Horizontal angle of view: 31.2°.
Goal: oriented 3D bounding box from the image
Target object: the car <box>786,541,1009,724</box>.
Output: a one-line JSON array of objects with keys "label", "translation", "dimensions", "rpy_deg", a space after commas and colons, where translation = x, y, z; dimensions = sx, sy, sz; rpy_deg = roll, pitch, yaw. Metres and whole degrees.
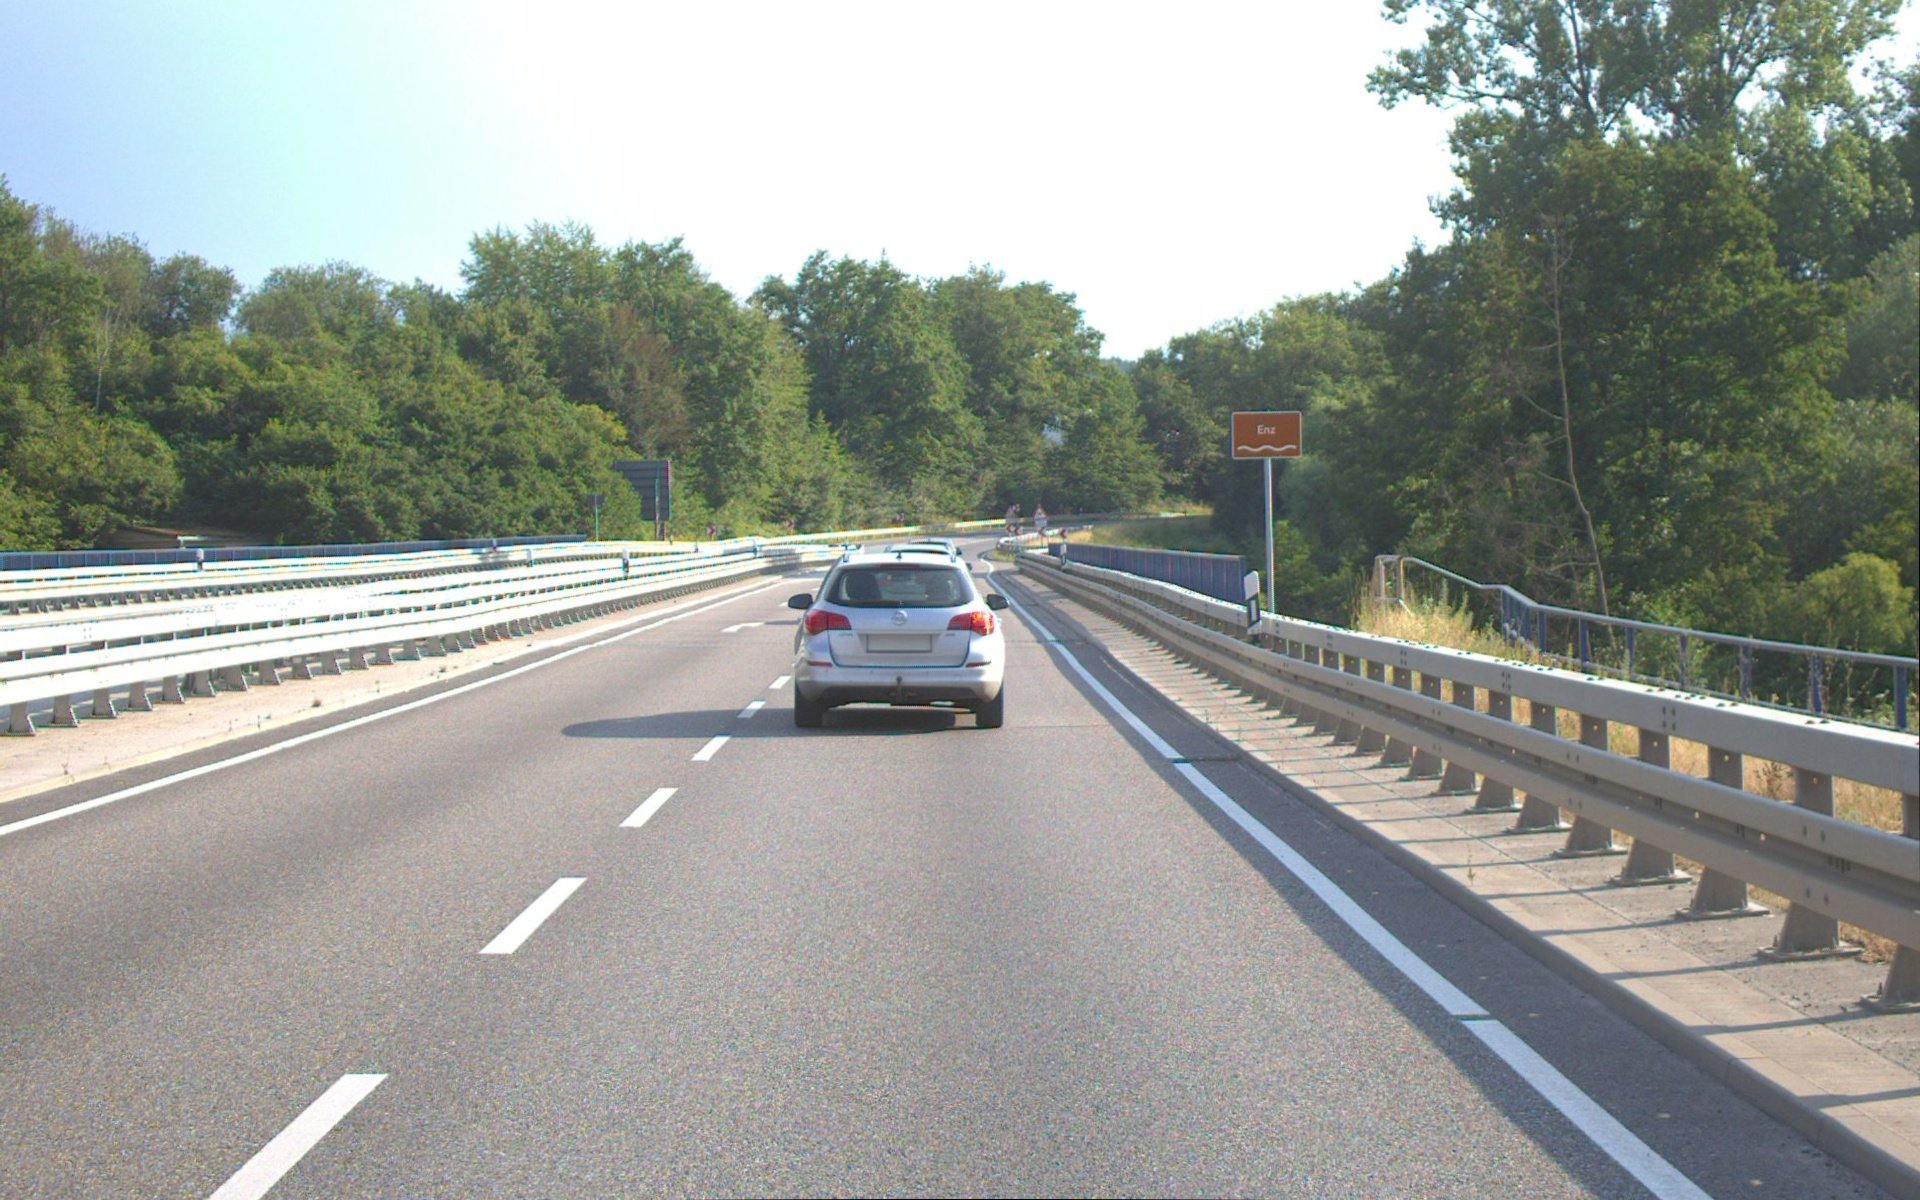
[{"label": "car", "translation": [-0.543, 0.255, 30.121], "dimensions": [1.809, 1.481, 4.000], "rpy_deg": [1, 0, -1]}]

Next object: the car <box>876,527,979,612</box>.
[{"label": "car", "translation": [-0.611, -0.558, 62.915], "dimensions": [1.809, 1.481, 4.000], "rpy_deg": [1, 0, -1]}]

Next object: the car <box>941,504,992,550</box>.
[{"label": "car", "translation": [0.294, -3.293, 155.535], "dimensions": [1.993, 2.007, 4.001], "rpy_deg": [1, 0, -4]}]
